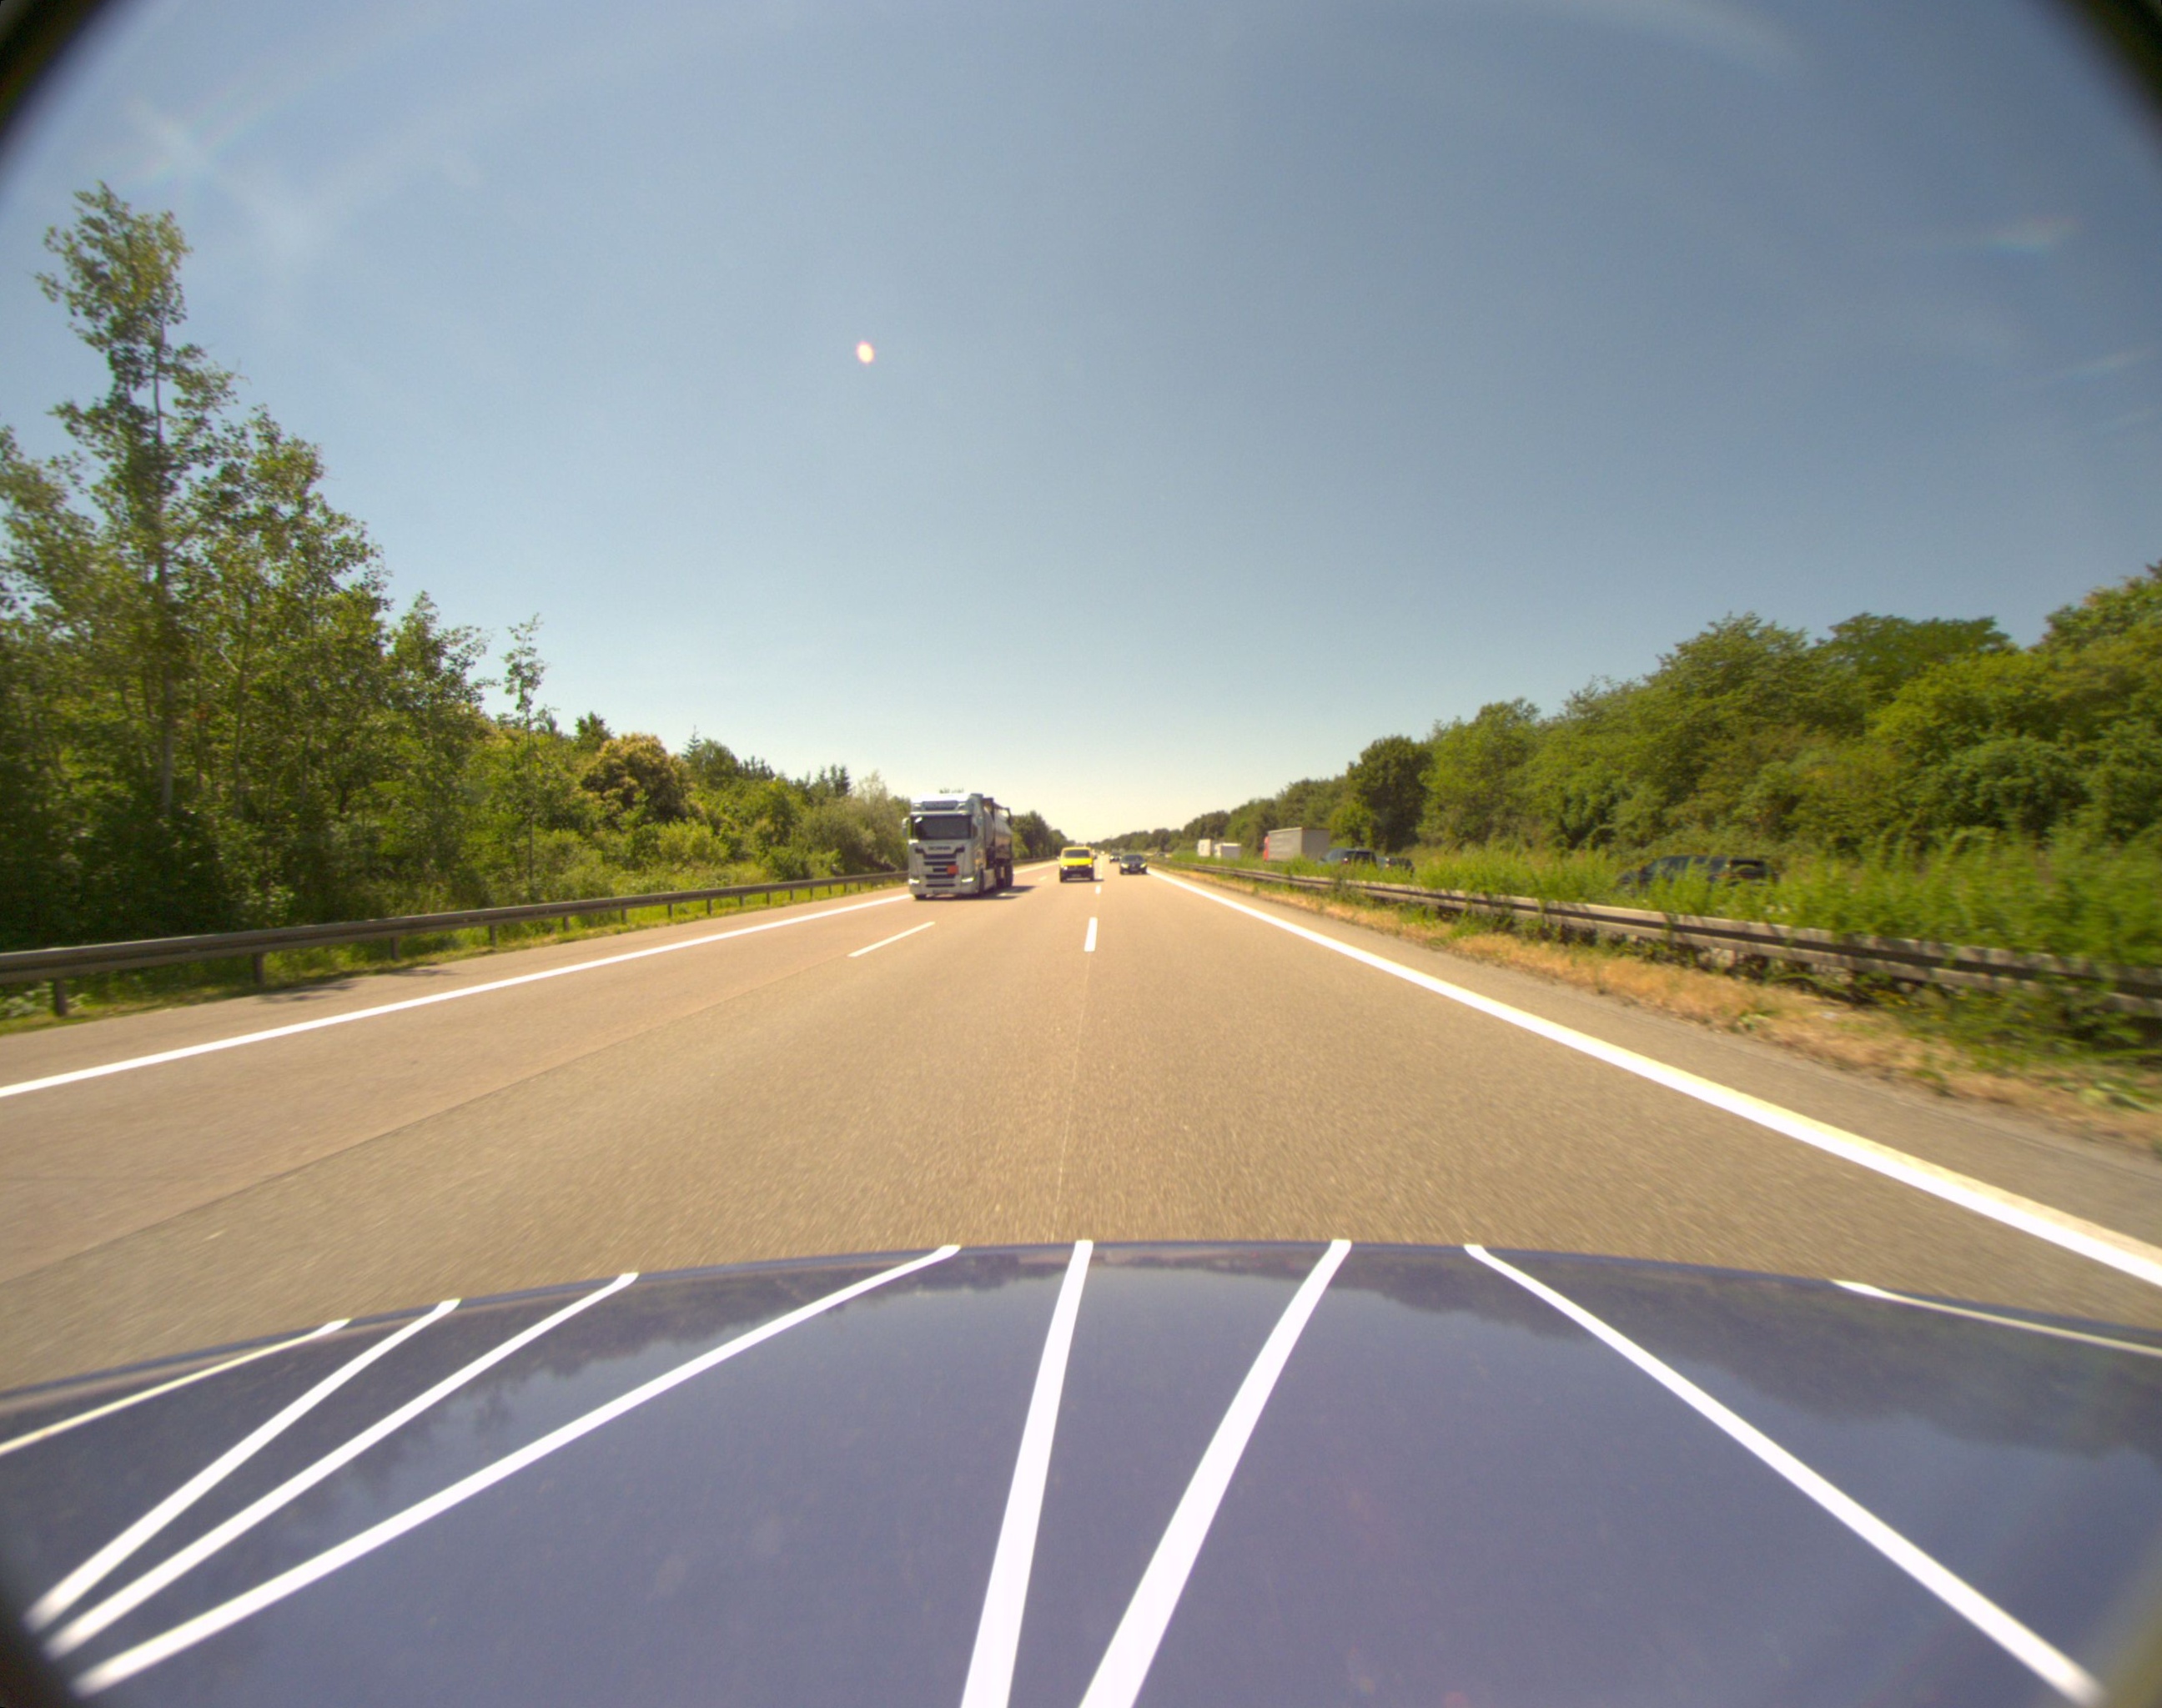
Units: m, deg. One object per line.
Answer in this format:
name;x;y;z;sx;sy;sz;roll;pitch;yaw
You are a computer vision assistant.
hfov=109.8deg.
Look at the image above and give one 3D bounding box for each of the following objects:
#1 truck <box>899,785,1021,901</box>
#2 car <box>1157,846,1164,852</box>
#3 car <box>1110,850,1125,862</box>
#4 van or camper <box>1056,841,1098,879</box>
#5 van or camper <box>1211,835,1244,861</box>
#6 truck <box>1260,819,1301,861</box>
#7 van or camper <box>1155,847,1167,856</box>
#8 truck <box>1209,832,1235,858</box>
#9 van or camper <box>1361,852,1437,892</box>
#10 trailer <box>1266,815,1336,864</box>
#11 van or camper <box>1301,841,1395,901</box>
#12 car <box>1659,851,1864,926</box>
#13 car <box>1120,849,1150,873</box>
truck;-4.849;-0.467;33.734;2.805;4.023;13.353;-2;1;1
car;27.025;-1.704;259.473;1.998;1.904;4.303;-1;1;1
car;5.118;0.296;107.168;1.894;1.541;4.039;1;1;1
van or camper;-0.152;0.304;43.874;2.063;1.992;5.884;-1;1;2
van or camper;17.483;-0.728;90.997;2.619;2.949;7.859;-2;1;3
truck;21.584;-1.512;82.526;3.144;4.207;5.176;-2;1;2
van or camper;15.734;-0.555;149.994;1.998;1.740;5.058;-1;1;2
truck;23.006;-1.466;124.345;3.201;4.125;5.943;-2;1;2
van or camper;17.017;0.914;40.956;1.998;2.002;5.248;0;0;1
trailer;21.259;-1.393;74.705;3.152;4.224;14.479;-2;1;2
van or camper;12.571;0.715;36.330;2.127;2.610;6.459;0;0;-1
car;18.085;0.843;20.498;1.998;1.707;4.000;-2;1;2
car;3.781;0.457;54.074;1.894;1.541;4.039;1;1;1
